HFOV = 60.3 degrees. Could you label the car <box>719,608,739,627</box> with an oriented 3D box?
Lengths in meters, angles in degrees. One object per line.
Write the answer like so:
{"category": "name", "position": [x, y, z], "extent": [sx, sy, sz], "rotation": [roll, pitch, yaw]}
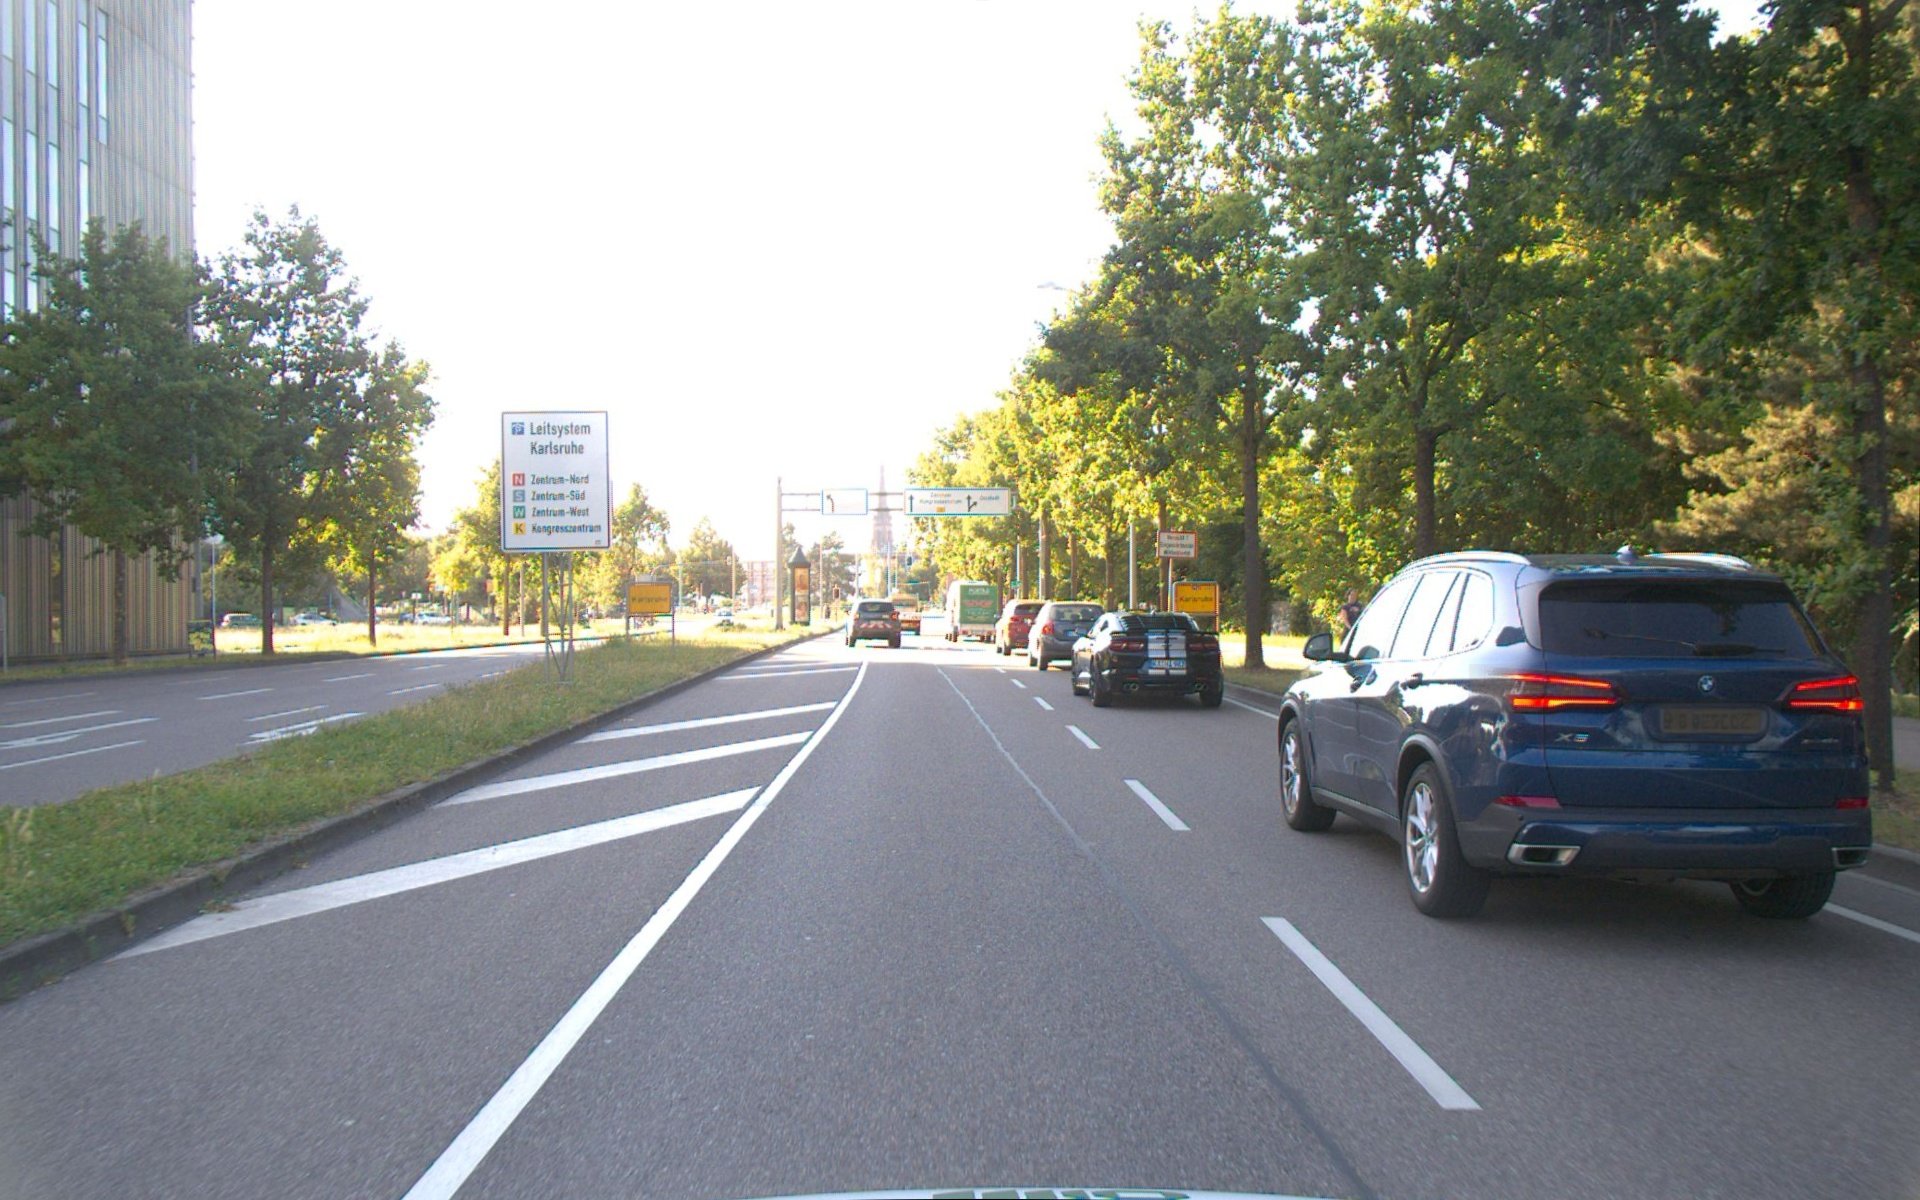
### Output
{"category": "car", "position": [-20.136, 1.499, 144.271], "extent": [1.532, 1.602, 3.408], "rotation": [-1, 0, -5]}

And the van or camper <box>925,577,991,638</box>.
{"category": "van or camper", "position": [-0.142, 0.319, 76.280], "extent": [2.241, 2.675, 6.573], "rotation": [1, 0, -7]}

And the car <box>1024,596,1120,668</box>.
{"category": "car", "position": [2.473, 0.680, 37.196], "extent": [1.712, 1.499, 3.817], "rotation": [-1, 0, -3]}

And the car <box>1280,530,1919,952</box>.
{"category": "car", "position": [3.189, 0.616, 9.312], "extent": [1.914, 1.757, 4.699], "rotation": [1, -1, 1]}

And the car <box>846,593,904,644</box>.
{"category": "car", "position": [-2.994, 0.620, 57.411], "extent": [1.868, 1.689, 3.996], "rotation": [-1, 0, -5]}

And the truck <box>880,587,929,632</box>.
{"category": "truck", "position": [-3.438, 0.548, 100.645], "extent": [2.531, 2.602, 6.243], "rotation": [-1, 0, -6]}

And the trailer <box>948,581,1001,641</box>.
{"category": "trailer", "position": [0.579, 0.468, 70.185], "extent": [2.048, 2.442, 3.499], "rotation": [1, 0, -3]}

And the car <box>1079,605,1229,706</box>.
{"category": "car", "position": [2.814, 0.760, 24.911], "extent": [1.816, 1.361, 4.626], "rotation": [0, 0, 1]}

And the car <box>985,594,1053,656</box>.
{"category": "car", "position": [1.719, 0.698, 49.070], "extent": [1.712, 1.649, 3.819], "rotation": [2, 1, -2]}

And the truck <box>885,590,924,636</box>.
{"category": "truck", "position": [-3.372, 0.760, 100.266], "extent": [2.176, 2.697, 4.769], "rotation": [0, 0, -4]}

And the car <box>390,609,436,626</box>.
{"category": "car", "position": [-51.077, 1.597, 154.547], "extent": [1.844, 1.534, 3.683], "rotation": [-1, 0, 44]}
